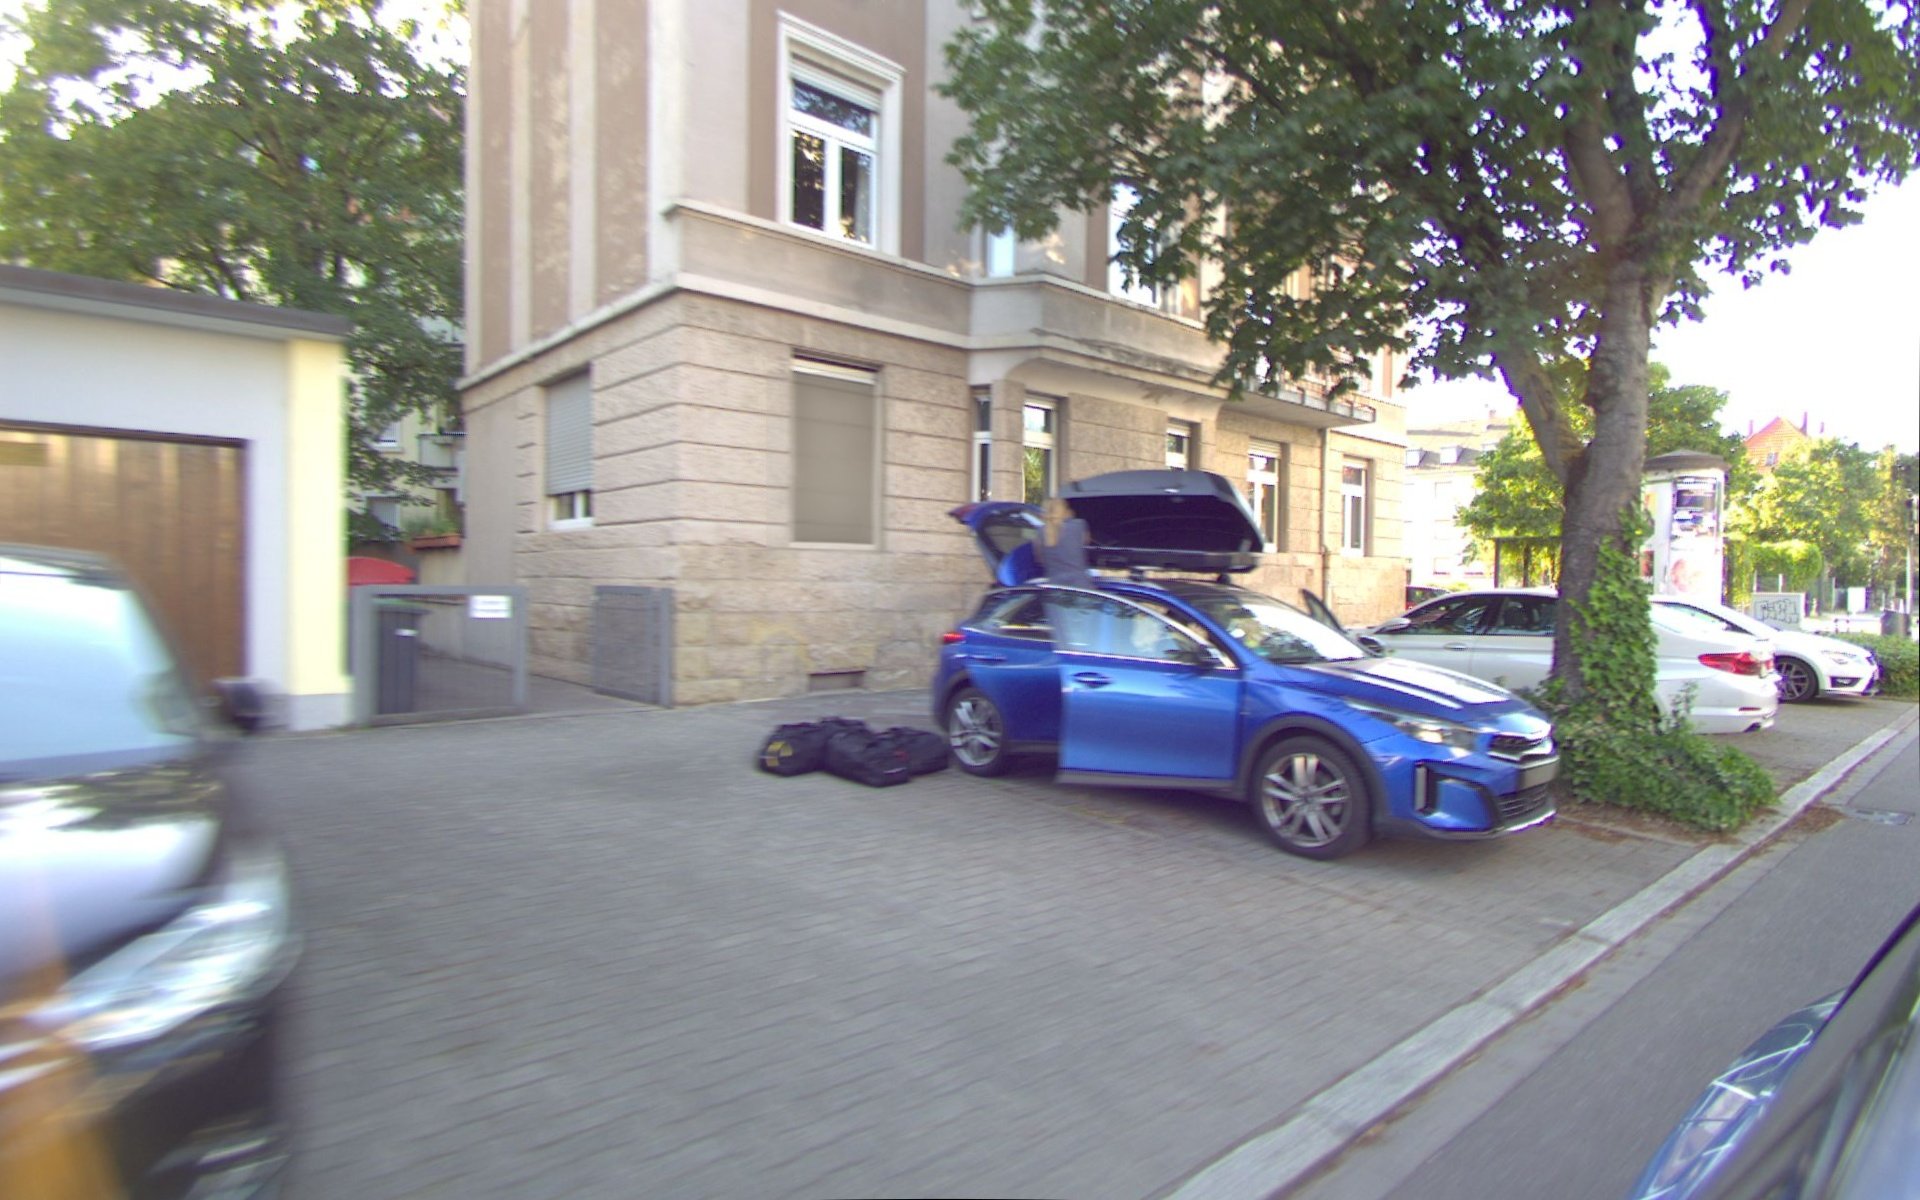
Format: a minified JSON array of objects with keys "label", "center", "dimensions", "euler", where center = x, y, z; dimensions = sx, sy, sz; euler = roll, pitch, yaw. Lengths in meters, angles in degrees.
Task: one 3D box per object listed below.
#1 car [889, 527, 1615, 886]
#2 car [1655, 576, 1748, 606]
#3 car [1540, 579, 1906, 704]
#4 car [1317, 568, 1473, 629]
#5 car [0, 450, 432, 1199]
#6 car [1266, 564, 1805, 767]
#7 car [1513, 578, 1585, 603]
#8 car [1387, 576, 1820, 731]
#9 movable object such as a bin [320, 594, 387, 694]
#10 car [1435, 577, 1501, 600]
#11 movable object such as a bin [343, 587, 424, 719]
[{"label":"car","center":[1.626,0.411,6.986],"dimensions":[1.842,1.661,4.534],"euler":[-1,2,-42]},{"label":"car","center":[44.229,-0.537,60.427],"dimensions":[1.792,1.662,4.207],"euler":[3,-1,-43]},{"label":"car","center":[11.164,0.484,15.023],"dimensions":[1.830,1.524,4.055],"euler":[-1,2,-42]},{"label":"car","center":[13.478,-0.069,31.526],"dimensions":[1.781,1.763,4.079],"euler":[2,0,-43]},{"label":"car","center":[-3.053,0.504,2.822],"dimensions":[1.842,1.577,4.197],"euler":[0,2,-42]},{"label":"car","center":[5.704,0.479,10.435],"dimensions":[4.478,1.544,1.923],"euler":[4,2,44]},{"label":"car","center":[38.834,-0.663,66.762],"dimensions":[1.739,1.545,3.770],"euler":[-2,2,-38]},{"label":"car","center":[7.632,0.493,12.347],"dimensions":[1.644,1.465,4.150],"euler":[-1,3,-42]},{"label":"movable object such as a bin","center":[-6.431,0.446,10.727],"dimensions":[0.523,1.011,0.457],"euler":[-2,2,-41]},{"label":"car","center":[35.526,-0.817,70.824],"dimensions":[1.705,1.537,3.755],"euler":[-1,2,-41]},{"label":"movable object such as a bin","center":[-5.045,0.441,8.859],"dimensions":[0.523,1.099,0.457],"euler":[-2,2,-41]}]
